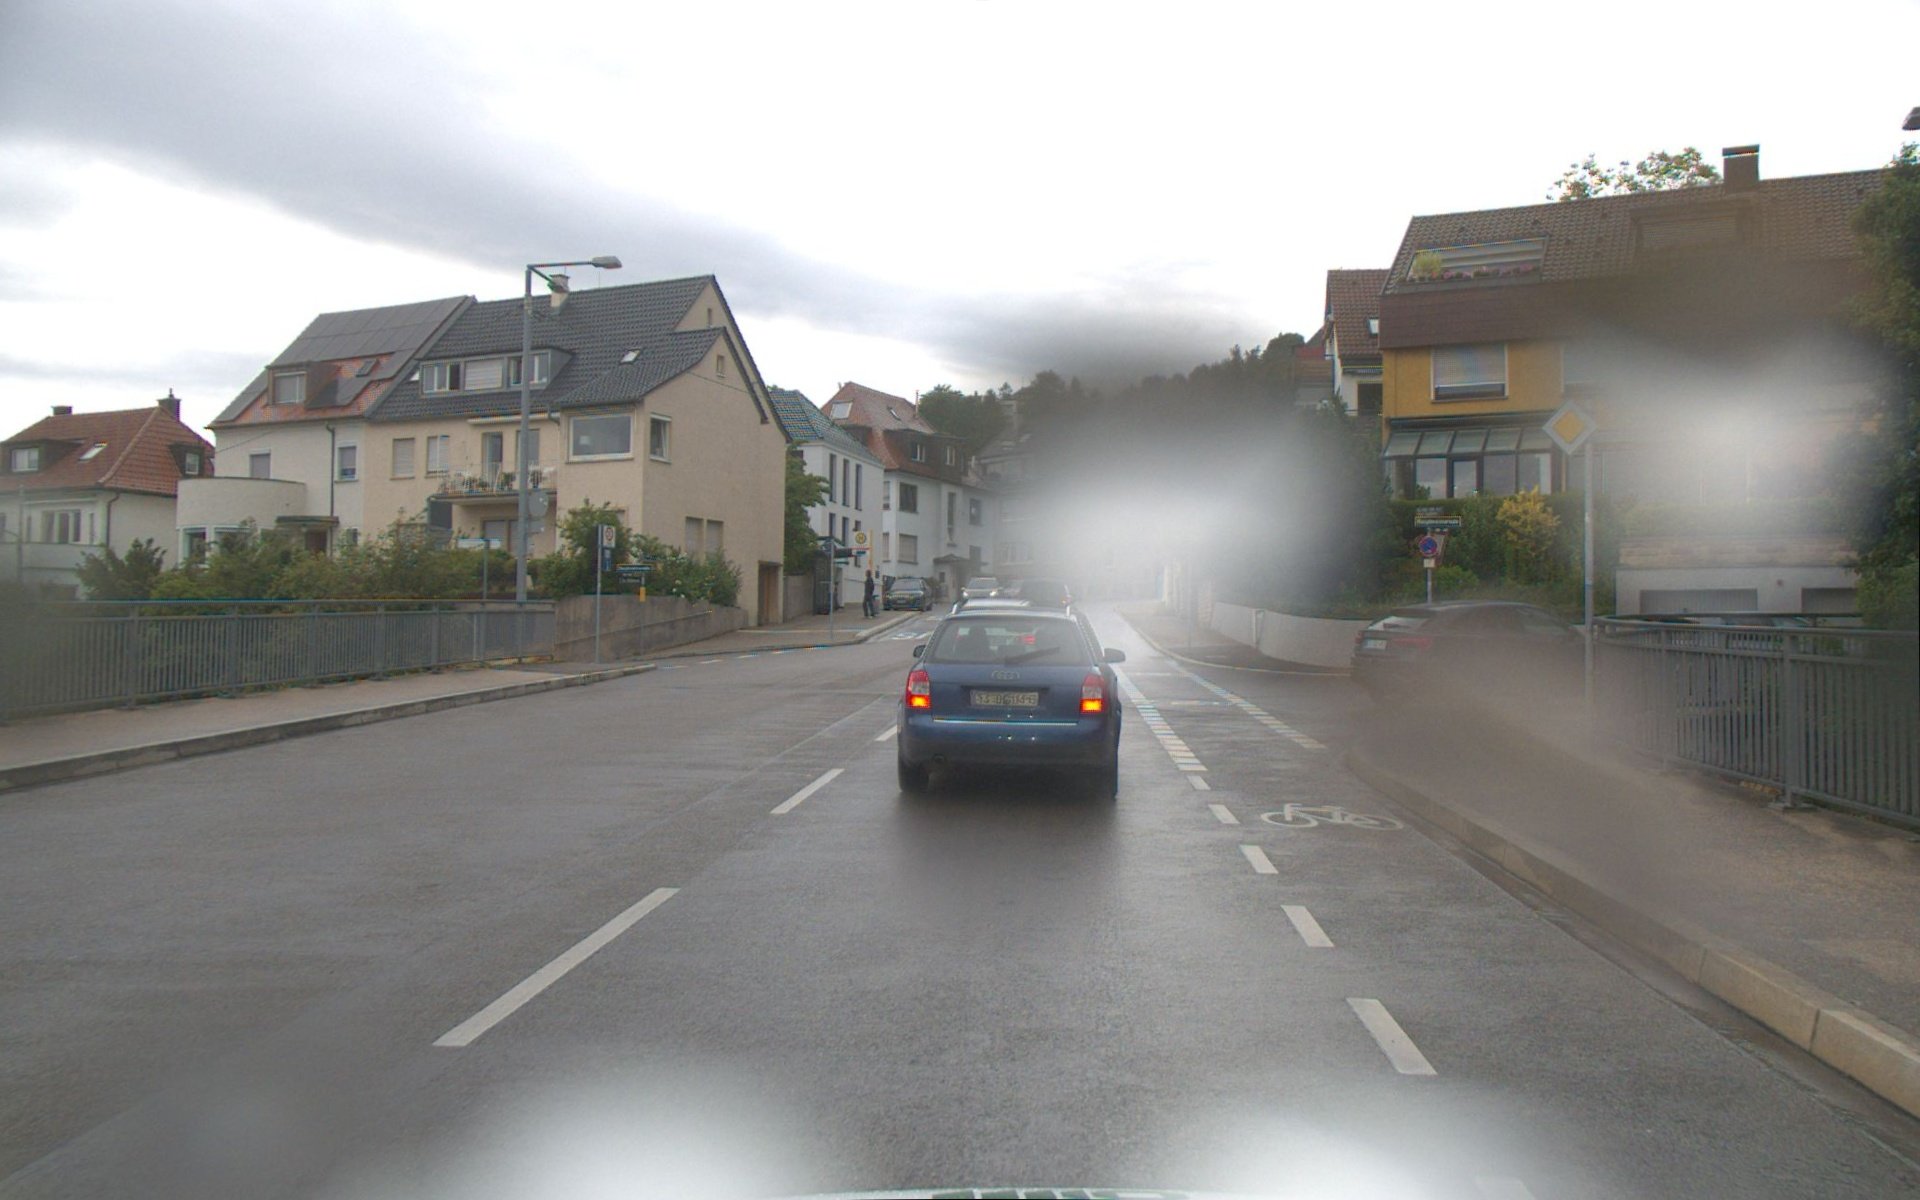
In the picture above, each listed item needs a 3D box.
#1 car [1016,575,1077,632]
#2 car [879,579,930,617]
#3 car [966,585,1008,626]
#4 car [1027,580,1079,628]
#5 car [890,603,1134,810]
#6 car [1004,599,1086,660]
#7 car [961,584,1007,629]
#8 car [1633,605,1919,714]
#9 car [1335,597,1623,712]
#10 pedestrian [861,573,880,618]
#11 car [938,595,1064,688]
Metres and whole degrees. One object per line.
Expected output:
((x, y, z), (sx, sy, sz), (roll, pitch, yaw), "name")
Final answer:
((2.722, 0.103, 52.201), (1.784, 1.645, 3.787), (3, 0, 3), "car")
((-2.546, -0.075, 77.037), (1.951, 1.738, 4.002), (0, -1, 4), "car")
((1.210, 0.250, 76.142), (1.785, 1.760, 3.785), (3, 0, 0), "car")
((3.696, 0.156, 66.145), (1.785, 1.760, 3.785), (3, 0, 0), "car")
((0.569, 0.753, 13.731), (1.710, 1.432, 4.003), (1, 0, 6), "car")
((2.229, 0.763, 42.508), (1.851, 1.413, 4.002), (3, -1, 6), "car")
((0.998, 0.256, 69.629), (1.785, 1.760, 3.785), (3, 0, 0), "car")
((12.461, 0.892, 25.146), (3.702, 1.449, 1.825), (3, -1, -7), "car")
((7.424, 0.723, 23.674), (3.725, 1.449, 1.813), (-1, 1, -25), "car")
((-3.483, -0.183, 64.447), (0.644, 1.720, 0.581), (-2, 2, -3), "pedestrian")
((0.790, 0.717, 29.068), (1.851, 1.413, 4.002), (3, -1, 6), "car")
